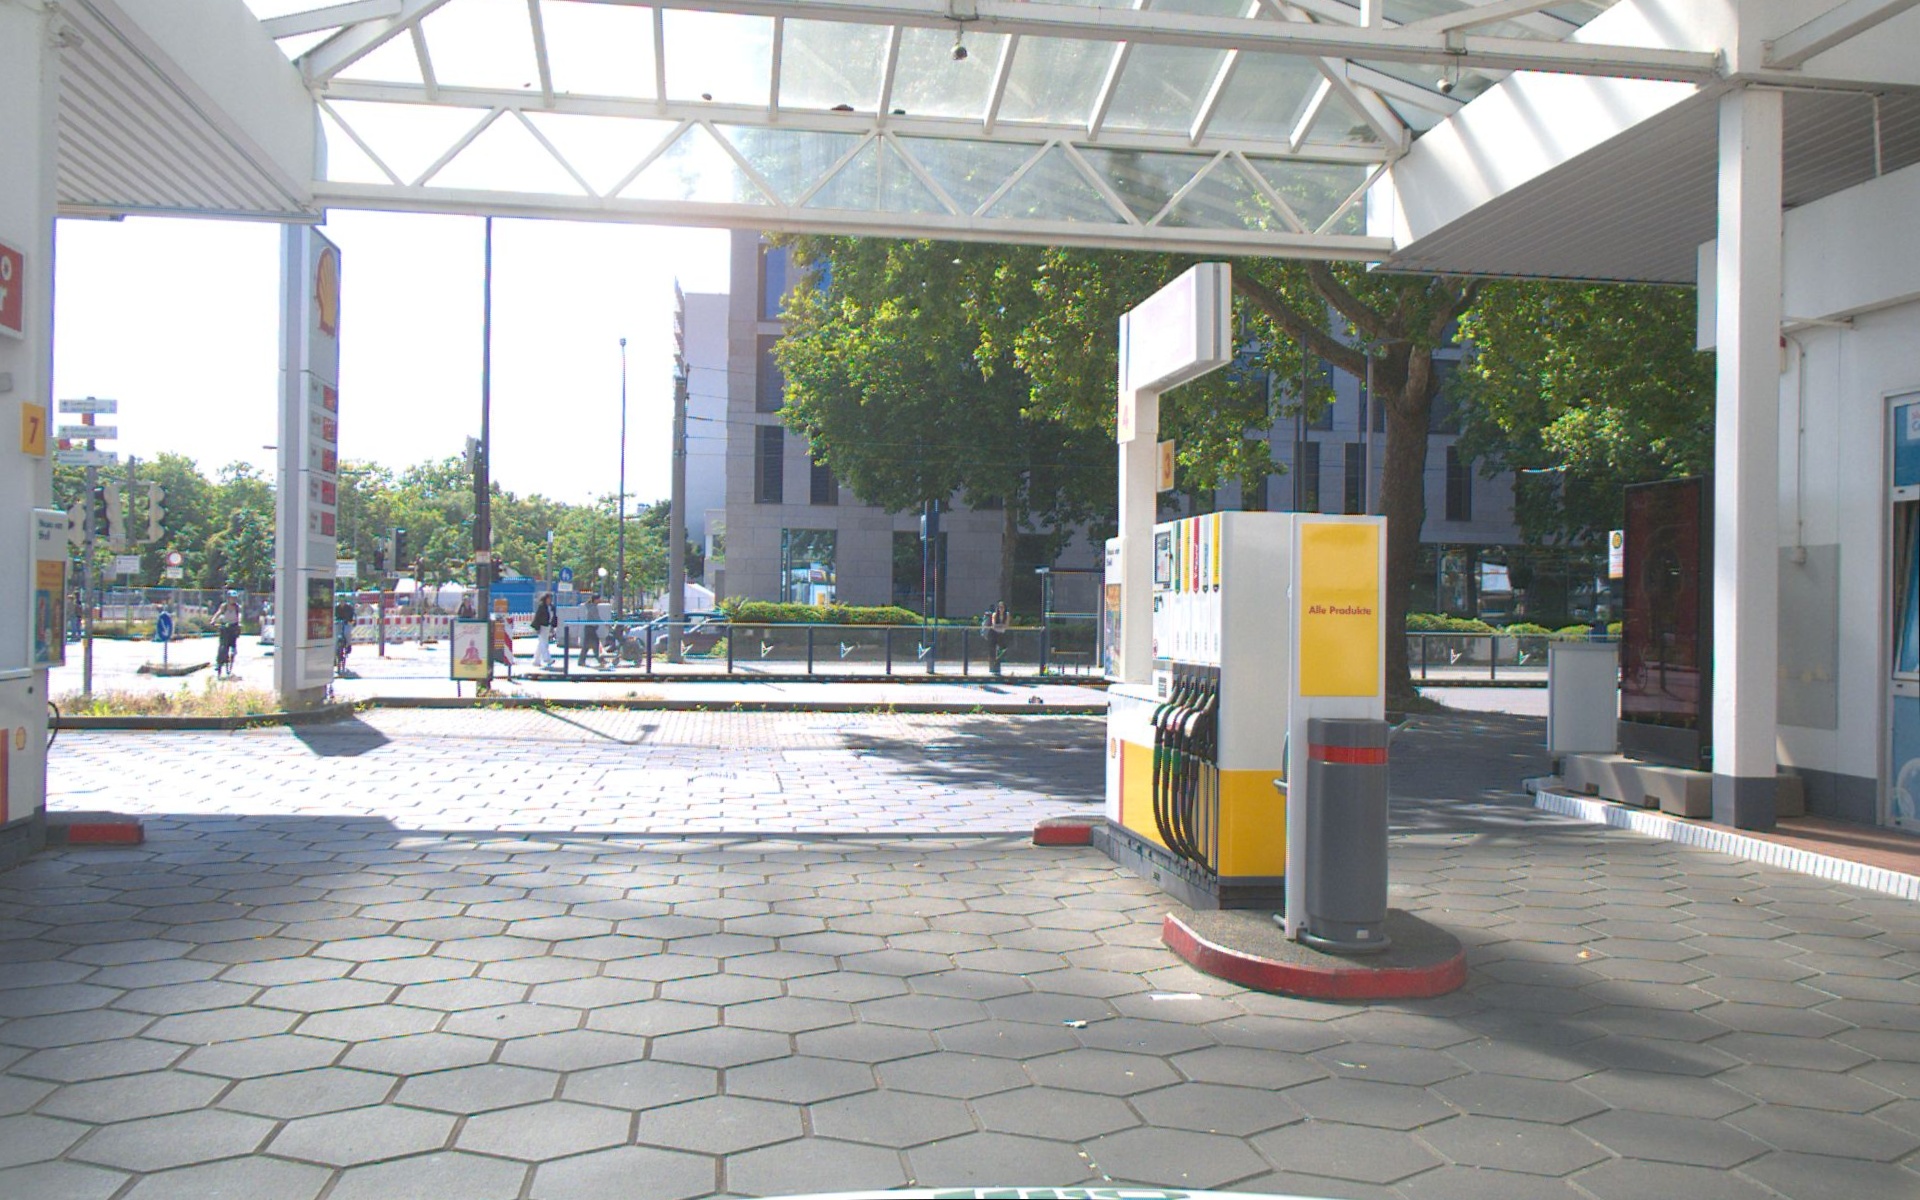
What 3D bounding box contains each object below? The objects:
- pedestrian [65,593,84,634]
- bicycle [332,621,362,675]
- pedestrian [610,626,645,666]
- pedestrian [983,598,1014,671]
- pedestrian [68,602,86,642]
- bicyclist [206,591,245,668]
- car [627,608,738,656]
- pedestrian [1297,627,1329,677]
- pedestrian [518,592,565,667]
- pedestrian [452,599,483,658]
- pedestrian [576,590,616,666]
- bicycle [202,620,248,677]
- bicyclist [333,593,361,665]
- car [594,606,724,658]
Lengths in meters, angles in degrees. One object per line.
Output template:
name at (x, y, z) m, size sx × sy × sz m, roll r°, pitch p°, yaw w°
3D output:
pedestrian at (-32.182, 0.495, 60.127) m, size 0.558 × 1.495 × 0.508 m, roll 1°, pitch -1°, yaw -33°
bicycle at (-13.534, 1.044, 36.494) m, size 0.516 × 1.101 × 1.854 m, roll 1°, pitch 1°, yaw -23°
pedestrian at (-7.626, 1.054, 37.925) m, size 0.676 × 0.896 × 0.503 m, roll 1°, pitch -1°, yaw 0°
pedestrian at (0.868, 0.782, 37.697) m, size 0.573 × 1.619 × 0.669 m, roll 1°, pitch 1°, yaw -9°
pedestrian at (-32.560, 0.812, 60.983) m, size 0.558 × 1.495 × 0.508 m, roll 1°, pitch -1°, yaw -33°
bicyclist at (-15.580, 0.620, 35.098) m, size 0.628 × 1.608 × 1.167 m, roll 1°, pitch -1°, yaw -19°
car at (-9.403, 1.082, 55.993) m, size 3.619 × 1.579 × 1.586 m, roll 1°, pitch 0°, yaw -14°
pedestrian at (8.334, 1.227, 39.078) m, size 0.615 × 1.158 × 0.524 m, roll 1°, pitch 0°, yaw -2°
pedestrian at (-9.578, 0.670, 37.848) m, size 0.913 × 1.712 × 0.503 m, roll 1°, pitch -1°, yaw 0°
pedestrian at (-13.155, 0.752, 44.182) m, size 0.637 × 1.567 × 0.503 m, roll 1°, pitch -1°, yaw 1°
pedestrian at (-8.347, 0.641, 37.928) m, size 0.761 × 1.712 × 0.503 m, roll 1°, pitch -1°, yaw 0°
bicycle at (-15.540, 1.012, 35.000) m, size 0.628 × 1.101 × 2.016 m, roll 1°, pitch 1°, yaw -17°
bicyclist at (-13.565, 0.642, 36.595) m, size 0.526 × 1.571 × 0.859 m, roll 1°, pitch -1°, yaw -23°
car at (-9.460, 1.005, 51.926) m, size 3.919 × 1.579 × 1.697 m, roll 1°, pitch 0°, yaw -14°
